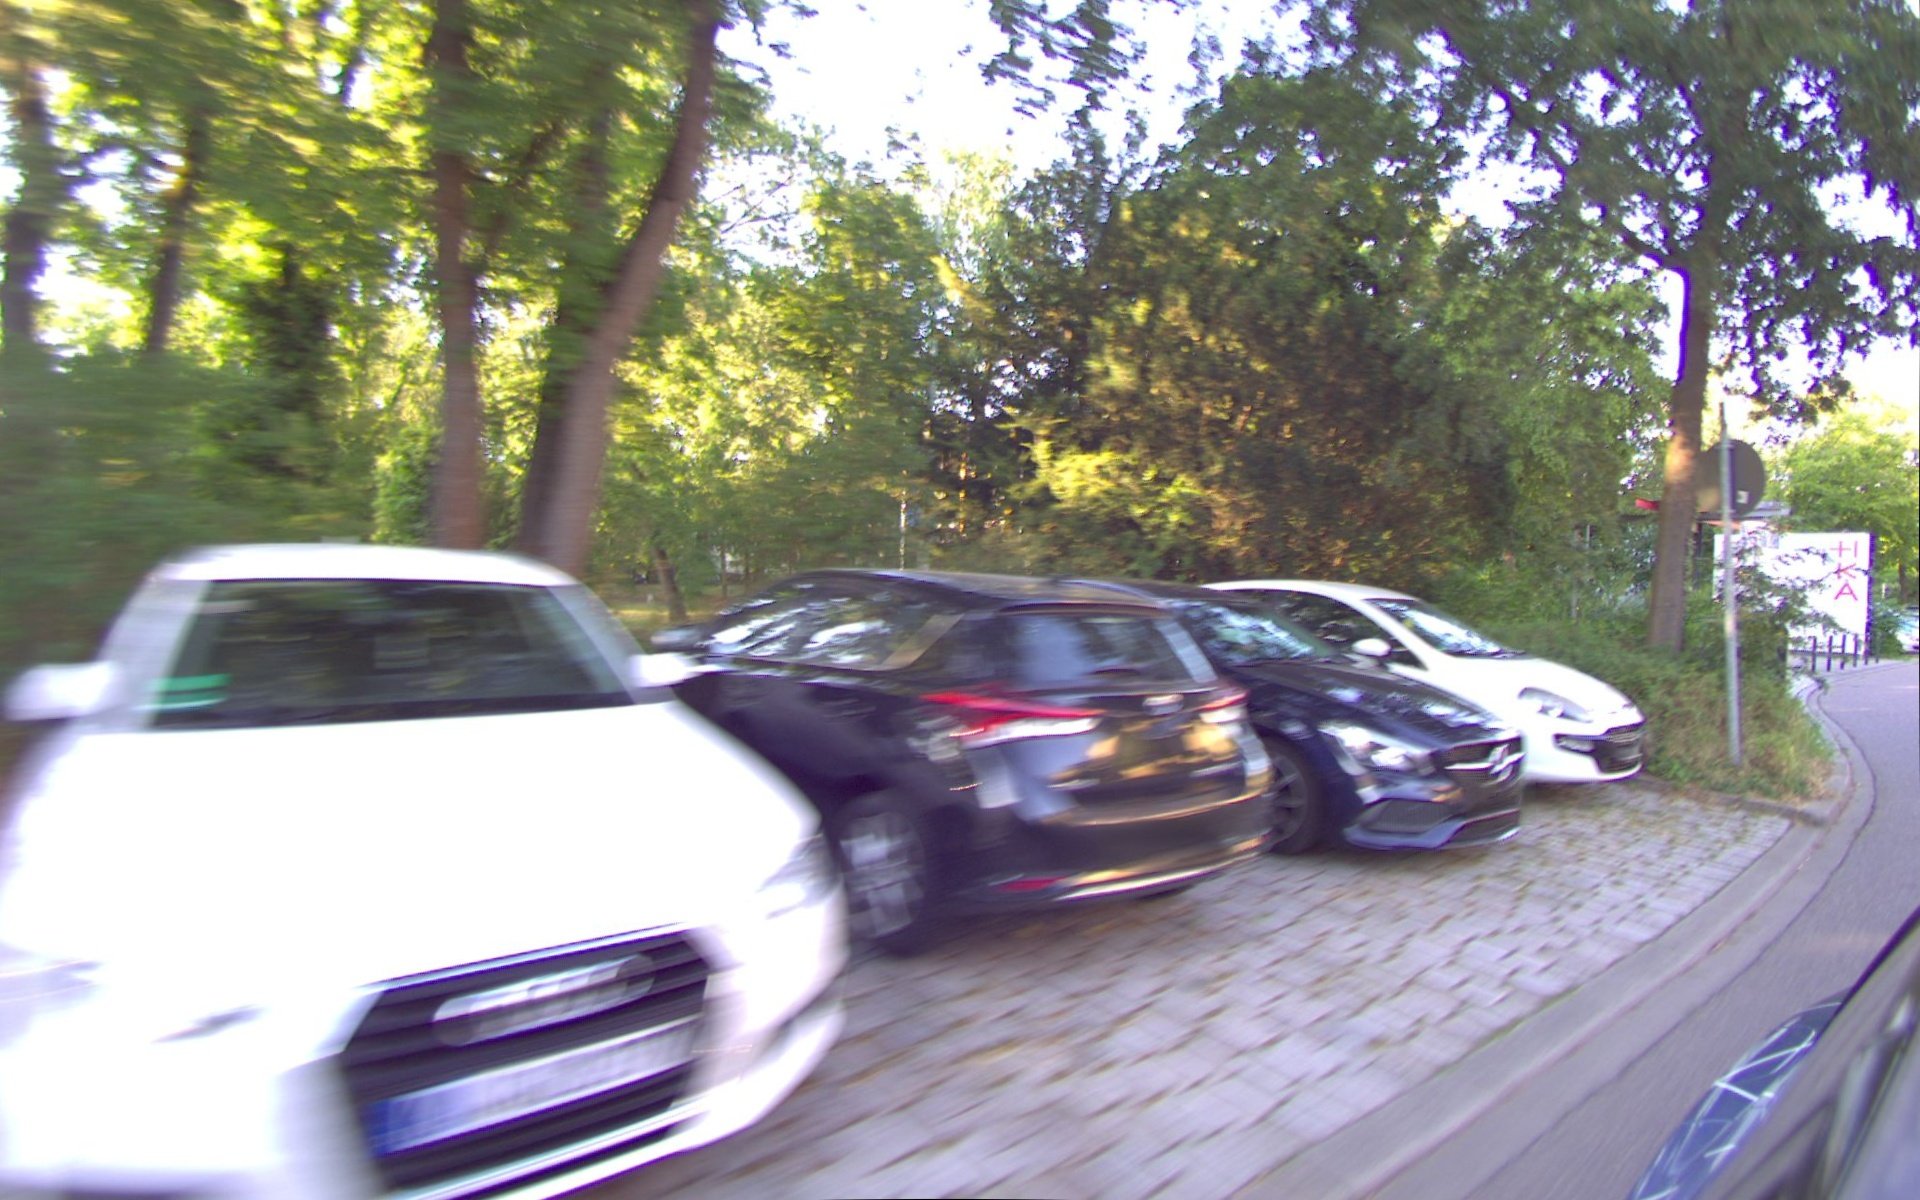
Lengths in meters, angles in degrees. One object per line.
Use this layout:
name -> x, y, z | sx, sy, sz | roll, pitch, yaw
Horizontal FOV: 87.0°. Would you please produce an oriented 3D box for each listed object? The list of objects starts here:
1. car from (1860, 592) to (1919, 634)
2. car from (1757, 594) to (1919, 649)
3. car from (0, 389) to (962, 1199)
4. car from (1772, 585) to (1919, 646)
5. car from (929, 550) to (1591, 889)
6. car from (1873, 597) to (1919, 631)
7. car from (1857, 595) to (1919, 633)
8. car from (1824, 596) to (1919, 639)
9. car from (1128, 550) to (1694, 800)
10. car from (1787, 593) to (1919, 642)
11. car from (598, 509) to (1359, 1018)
car -> 45.954, 0.680, 48.166 | 1.886, 1.802, 4.375 | 0, 4, -40
car -> 32.112, 0.741, 36.492 | 1.882, 1.572, 4.940 | 0, 4, -39
car -> -2.138, 0.419, 3.668 | 1.823, 1.574, 4.495 | 2, 1, -39
car -> 34.041, 0.552, 38.244 | 1.882, 1.939, 4.865 | 0, 4, -39
car -> 1.698, 0.506, 6.848 | 1.694, 1.574, 3.997 | 2, 1, -39
car -> 47.799, 0.769, 49.520 | 1.696, 1.572, 4.375 | 0, 4, -39
car -> 44.066, 0.726, 46.206 | 1.843, 1.572, 4.375 | 0, 4, -40
car -> 39.483, 0.739, 42.614 | 1.886, 1.556, 4.375 | 0, 4, -40
car -> 3.527, 0.423, 8.550 | 1.694, 1.574, 3.997 | 2, 1, -39
car -> 35.960, 0.679, 39.863 | 1.882, 1.572, 4.940 | 0, 4, -39
car -> -0.282, 0.440, 5.225 | 1.720, 1.574, 3.997 | 2, 1, -39
